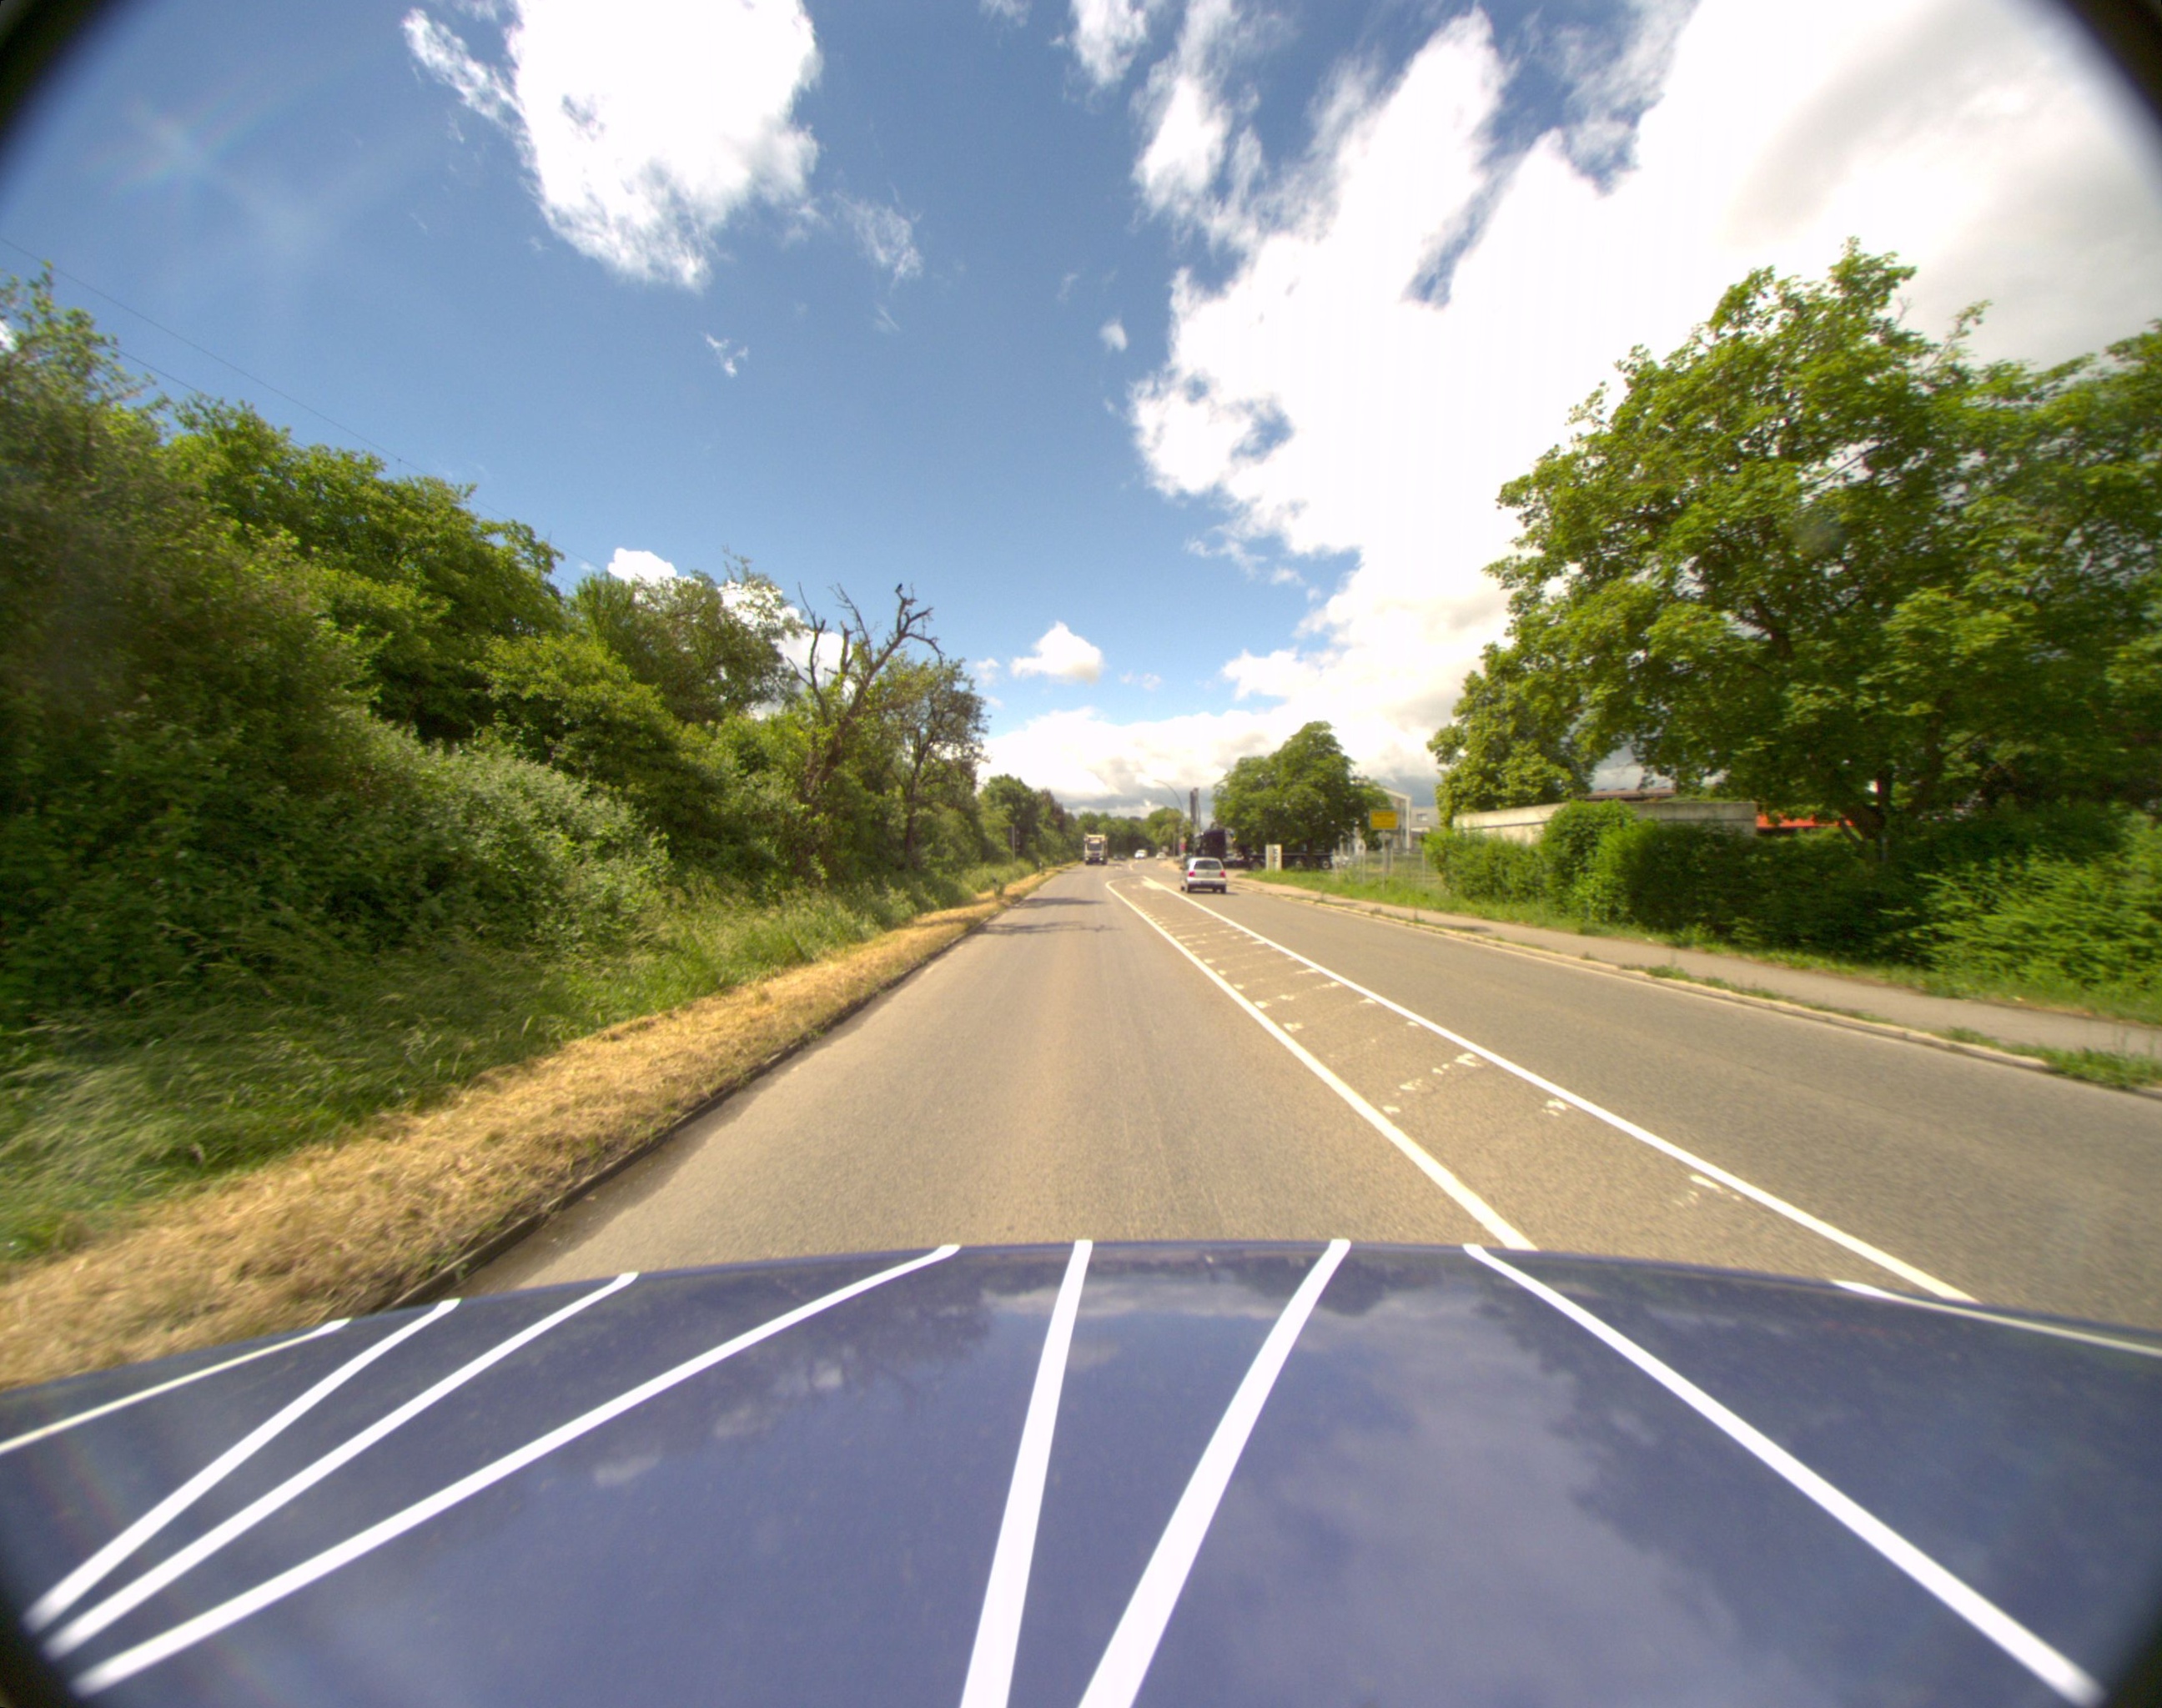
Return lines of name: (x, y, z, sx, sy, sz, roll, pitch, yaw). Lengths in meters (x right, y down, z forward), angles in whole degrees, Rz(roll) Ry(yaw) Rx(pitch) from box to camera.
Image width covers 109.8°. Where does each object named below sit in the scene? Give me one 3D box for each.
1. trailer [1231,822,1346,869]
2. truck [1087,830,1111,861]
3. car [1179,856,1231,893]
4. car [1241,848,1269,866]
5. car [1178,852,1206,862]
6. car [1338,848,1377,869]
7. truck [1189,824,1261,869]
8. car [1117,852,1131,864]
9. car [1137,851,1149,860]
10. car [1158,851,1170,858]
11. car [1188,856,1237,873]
trailer: (18.412, -0.721, 67.665, 9.471, 4.059, 3.315, 0, 1, -14)
truck: (2.368, -1.100, 97.453, 2.904, 3.746, 9.634, 0, 1, 1)
car: (5.130, 0.833, 31.756, 1.664, 1.423, 3.693, 1, 0, 2)
car: (17.083, 0.287, 74.813, 1.935, 1.711, 4.601, 0, 0, 3)
car: (17.078, 0.403, 116.608, 3.943, 1.485, 1.808, 1, 1, 44)
car: (26.069, 0.387, 71.636, 1.952, 1.865, 4.126, 1, 1, 43)
truck: (12.547, -0.667, 66.532, 5.570, 3.802, 2.983, 0, 1, -3)
car: (7.645, 0.644, 134.511, 1.952, 2.002, 4.003, 0, 1, 12)
car: (13.012, 0.278, 159.509, 1.952, 2.002, 4.004, 1, 1, 15)
car: (16.875, 0.142, 154.859, 1.996, 1.442, 4.430, 2, 1, 12)
car: (13.477, 1.029, 77.721, 4.750, 1.596, 1.983, 0, 2, -30)
